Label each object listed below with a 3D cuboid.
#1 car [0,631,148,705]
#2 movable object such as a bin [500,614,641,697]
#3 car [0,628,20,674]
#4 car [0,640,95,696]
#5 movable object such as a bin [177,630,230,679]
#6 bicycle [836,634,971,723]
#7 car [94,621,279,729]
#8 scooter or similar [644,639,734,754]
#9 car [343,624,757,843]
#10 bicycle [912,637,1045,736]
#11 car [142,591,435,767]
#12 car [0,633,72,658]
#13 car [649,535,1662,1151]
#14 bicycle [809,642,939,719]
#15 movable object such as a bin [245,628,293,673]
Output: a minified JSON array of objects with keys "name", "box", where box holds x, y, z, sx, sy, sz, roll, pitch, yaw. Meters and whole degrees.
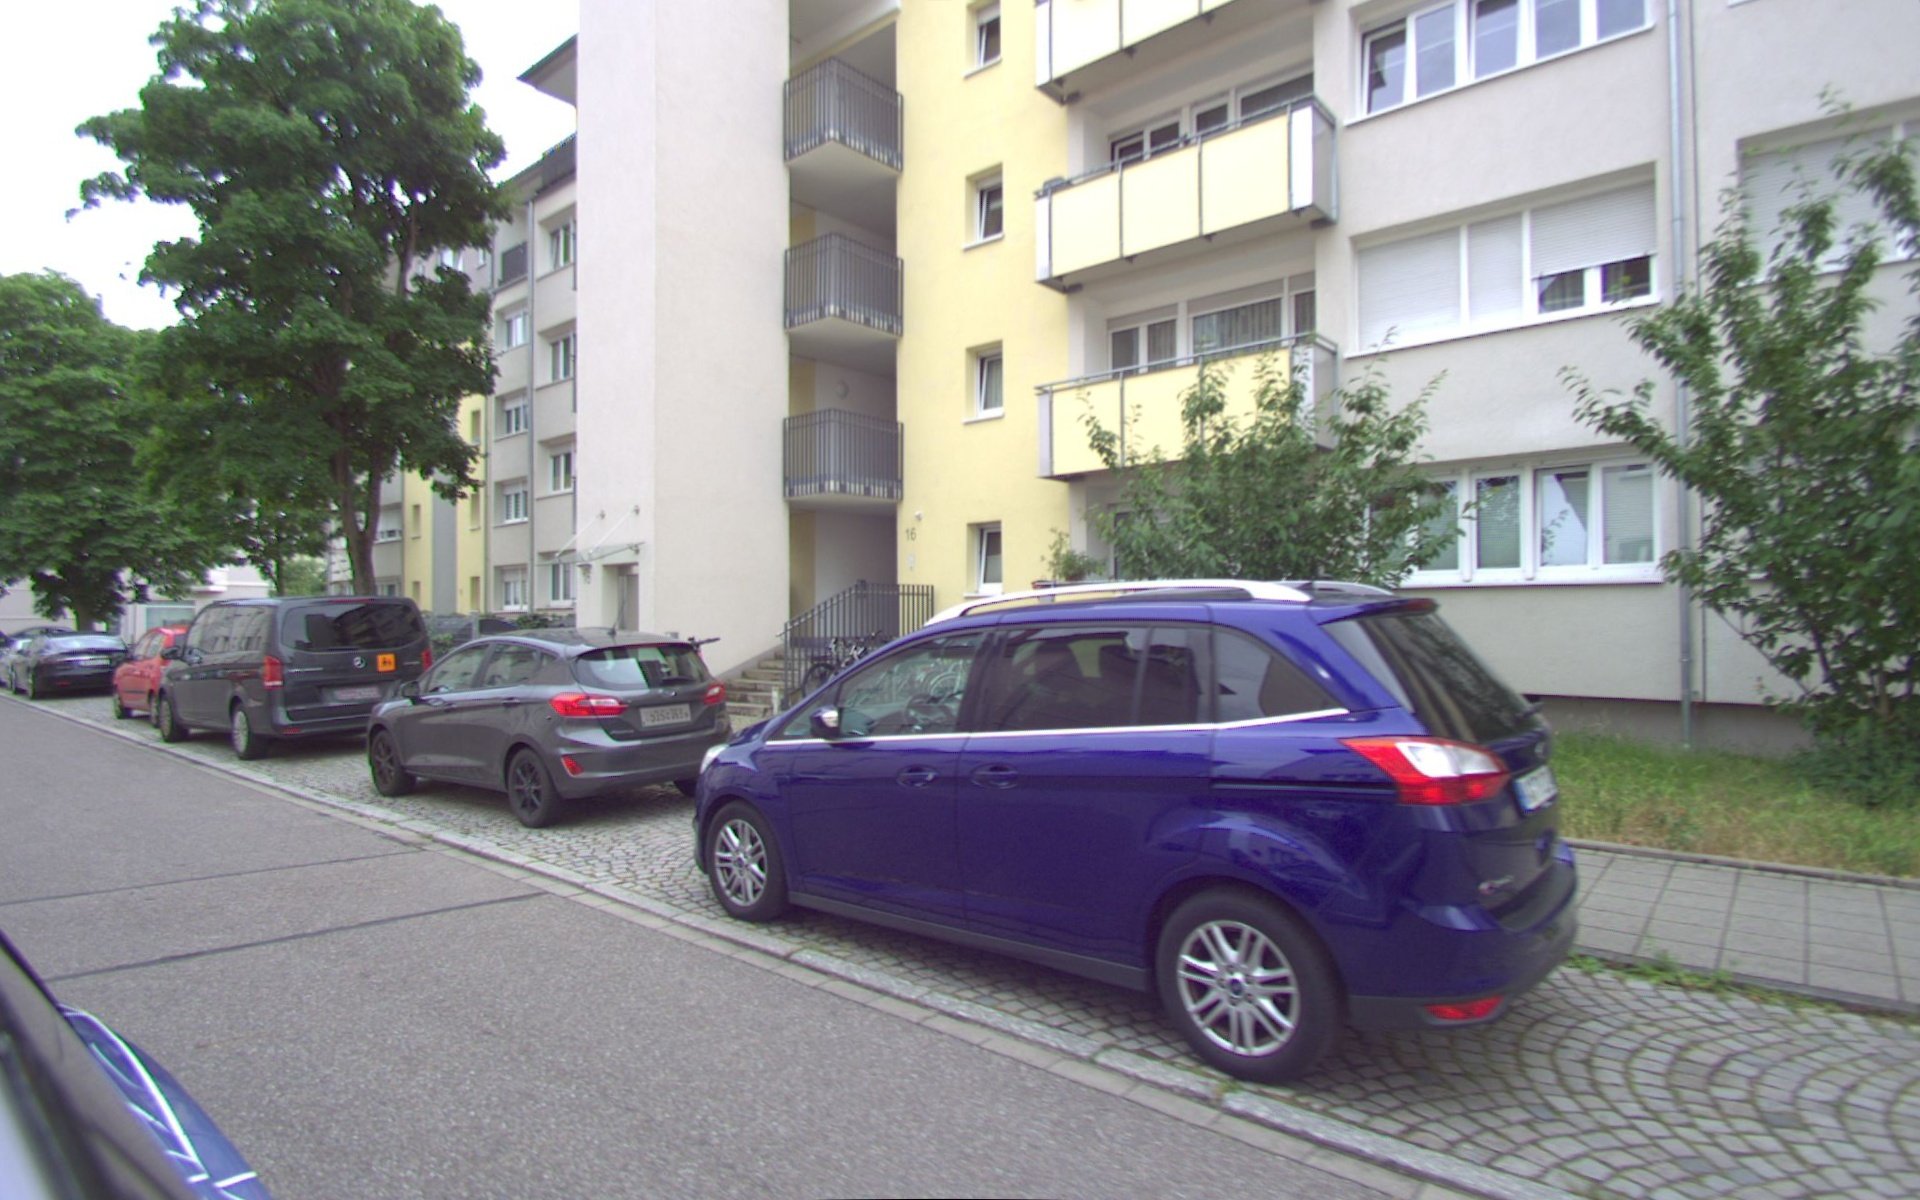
[{"name":"car","box":[-20.184,1.479,22.941,4.430,1.450,1.895,-2,0,39]},{"name":"movable object such as a bin","box":[-7.786,1.077,20.216,2.539,1.535,1.597,-2,-3,40]},{"name":"car","box":[-35.317,1.829,36.273,4.207,1.587,1.974,-2,0,41]},{"name":"car","box":[-24.185,1.728,26.506,4.207,1.274,1.743,-2,0,41]},{"name":"movable object such as a bin","box":[-23.351,1.662,31.247,0.889,1.487,1.168,-2,-3,44]},{"name":"bicycle","box":[-0.754,1.045,13.961,1.830,1.146,0.717,2,-3,-43]},{"name":"car","box":[-12.688,1.160,16.552,3.610,1.580,1.605,-2,-3,39]},{"name":"scooter or similar","box":[-3.098,1.068,11.540,1.135,1.253,0.432,-2,-3,41]},{"name":"car","box":[-3.644,0.975,8.729,3.813,1.456,1.606,-2,-1,37]},{"name":"bicycle","box":[0.263,1.035,12.706,0.715,1.146,1.834,-2,-3,38]},{"name":"car","box":[-8.751,0.915,13.024,4.781,1.869,1.867,-2,-2,40]},{"name":"car","box":[-49.896,2.442,54.579,1.353,1.294,2.890,-2,-2,44]},{"name":"car","box":[0.534,0.698,4.852,4.469,1.639,1.781,-2,-1,41]},{"name":"bicycle","box":[-1.205,1.122,14.511,1.830,1.028,0.671,2,-3,-43]},{"name":"movable object such as a bin","box":[-23.494,1.703,34.394,0.889,1.487,1.168,-2,-3,44]}]
